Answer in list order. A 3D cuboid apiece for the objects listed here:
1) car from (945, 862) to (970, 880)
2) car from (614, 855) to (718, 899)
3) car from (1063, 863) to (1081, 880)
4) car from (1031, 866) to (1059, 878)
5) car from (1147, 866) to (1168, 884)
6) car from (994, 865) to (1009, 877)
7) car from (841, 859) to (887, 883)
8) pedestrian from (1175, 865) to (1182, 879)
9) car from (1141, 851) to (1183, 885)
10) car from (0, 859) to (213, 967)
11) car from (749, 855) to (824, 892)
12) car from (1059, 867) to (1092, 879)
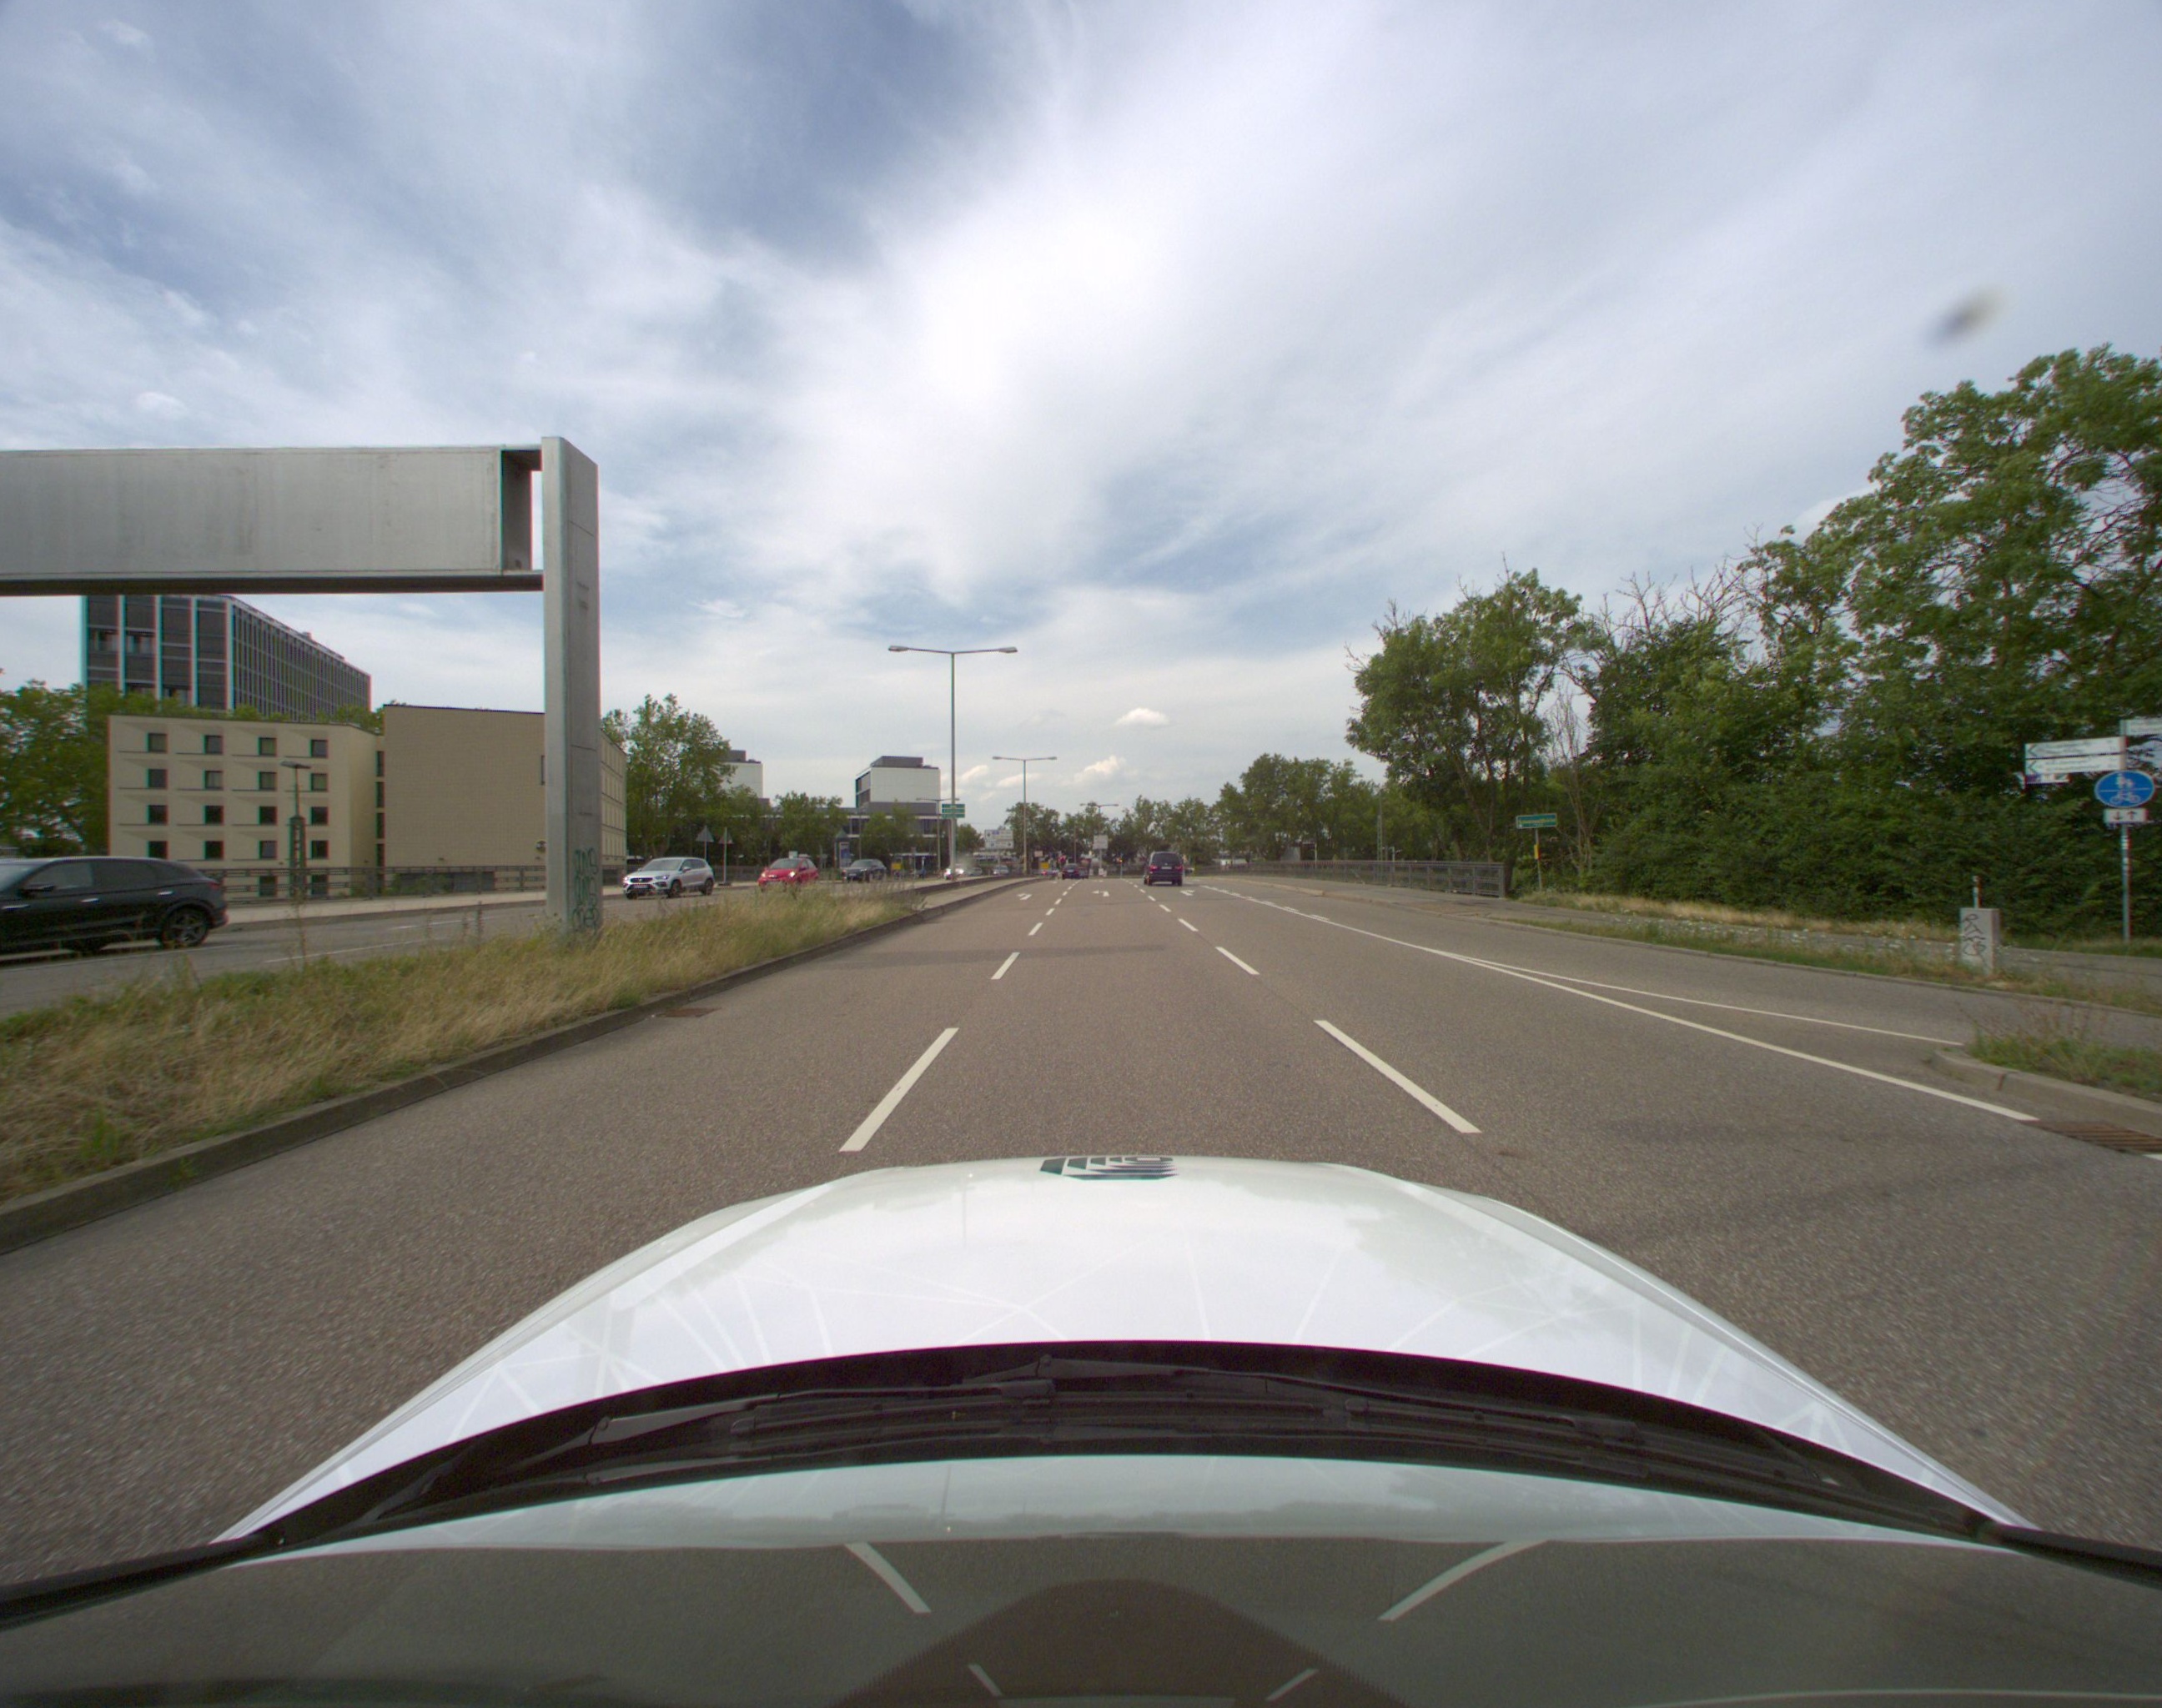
[{"bbox_3d":[-11.244,1.536,74.311,1.731,1.482,4.081,-2,0,-2],"label":"car"},{"bbox_3d":[-15.965,0.833,31.586,1.787,1.525,4.188,-2,0,0],"label":"car"},{"bbox_3d":[-0.902,1.744,81.953,1.725,1.653,4.114,0,1,0],"label":"car"},{"bbox_3d":[-4.842,2.421,109.197,3.588,1.418,1.746,1,1,44],"label":"car"},{"bbox_3d":[7.658,2.119,81.883,1.725,1.653,4.114,0,1,0],"label":"car"},{"bbox_3d":[-8.634,1.838,87.920,1.501,1.214,4.073,-2,0,-7],"label":"car"},{"bbox_3d":[-14.890,1.151,56.041,1.915,1.525,4.188,-2,0,0],"label":"car"},{"bbox_3d":[12.319,2.248,102.527,0.789,1.643,0.801,0,0,2],"label":"pedestrian"},{"bbox_3d":[4.170,0.684,42.338,1.725,1.653,4.114,0,1,0],"label":"car"},{"bbox_3d":[-16.314,0.882,12.112,1.787,1.525,4.594,-2,0,0],"label":"car"},{"bbox_3d":[-12.691,0.816,35.369,1.787,1.441,3.798,-2,0,0],"label":"car"},{"bbox_3d":[-0.730,2.459,106.347,4.063,1.526,1.747,1,1,41],"label":"car"}]
